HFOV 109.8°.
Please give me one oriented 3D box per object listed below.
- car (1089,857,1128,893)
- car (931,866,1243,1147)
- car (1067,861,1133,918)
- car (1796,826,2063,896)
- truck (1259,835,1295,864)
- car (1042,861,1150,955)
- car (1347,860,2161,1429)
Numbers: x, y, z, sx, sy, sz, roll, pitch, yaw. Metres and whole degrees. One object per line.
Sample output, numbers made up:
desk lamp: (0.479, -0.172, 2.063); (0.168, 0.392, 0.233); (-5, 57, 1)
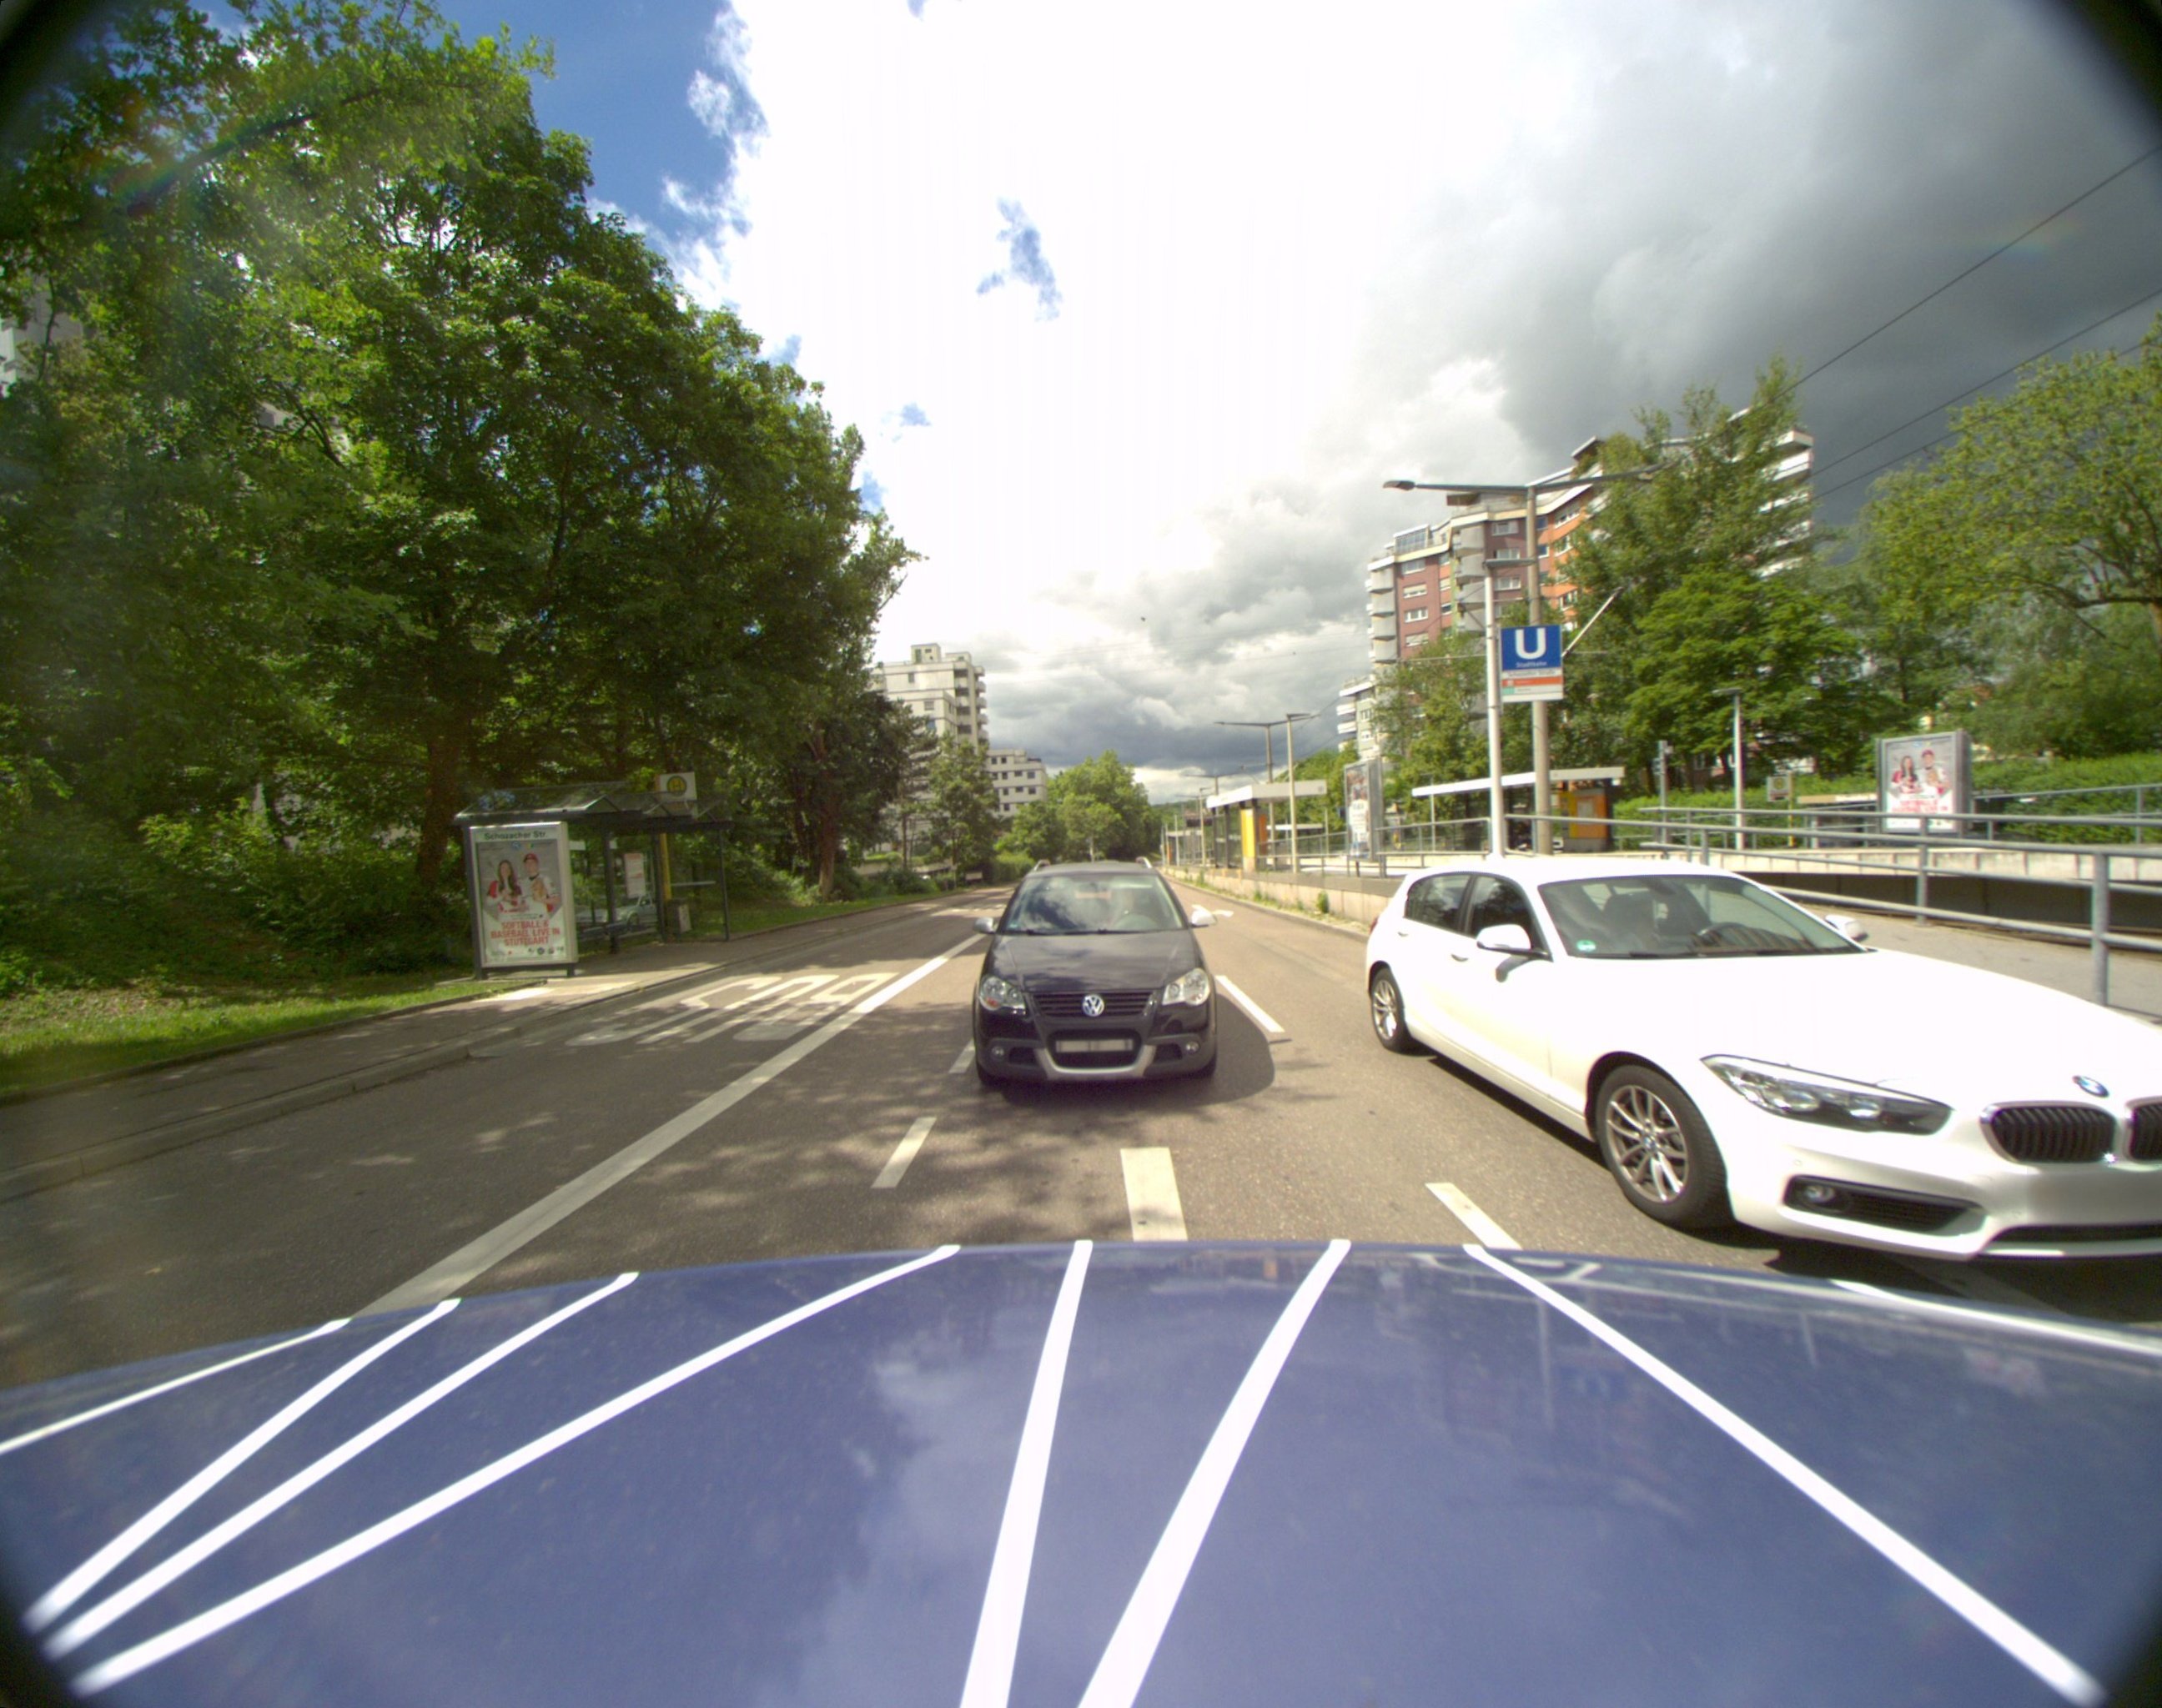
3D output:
car: (1.281, 0.943, 36.435); (1.732, 1.505, 4.000); (-2, 1, 1)
car: (0.066, 0.911, 6.368); (1.732, 1.501, 4.000); (-2, 0, 1)
car: (0.613, 0.960, 22.380); (1.732, 1.452, 4.001); (-2, 0, 3)
car: (19.609, 0.160, 17.902); (1.633, 1.405, 4.254); (-2, 0, 2)
truck: (23.091, -0.512, 90.062); (2.420, 3.203, 7.263); (-2, 0, 1)
car: (0.274, 0.915, 14.543); (1.732, 1.453, 4.000); (-2, 0, 1)
car: (3.000, 0.829, 4.104); (1.732, 1.453, 4.000); (-2, 1, 1)
